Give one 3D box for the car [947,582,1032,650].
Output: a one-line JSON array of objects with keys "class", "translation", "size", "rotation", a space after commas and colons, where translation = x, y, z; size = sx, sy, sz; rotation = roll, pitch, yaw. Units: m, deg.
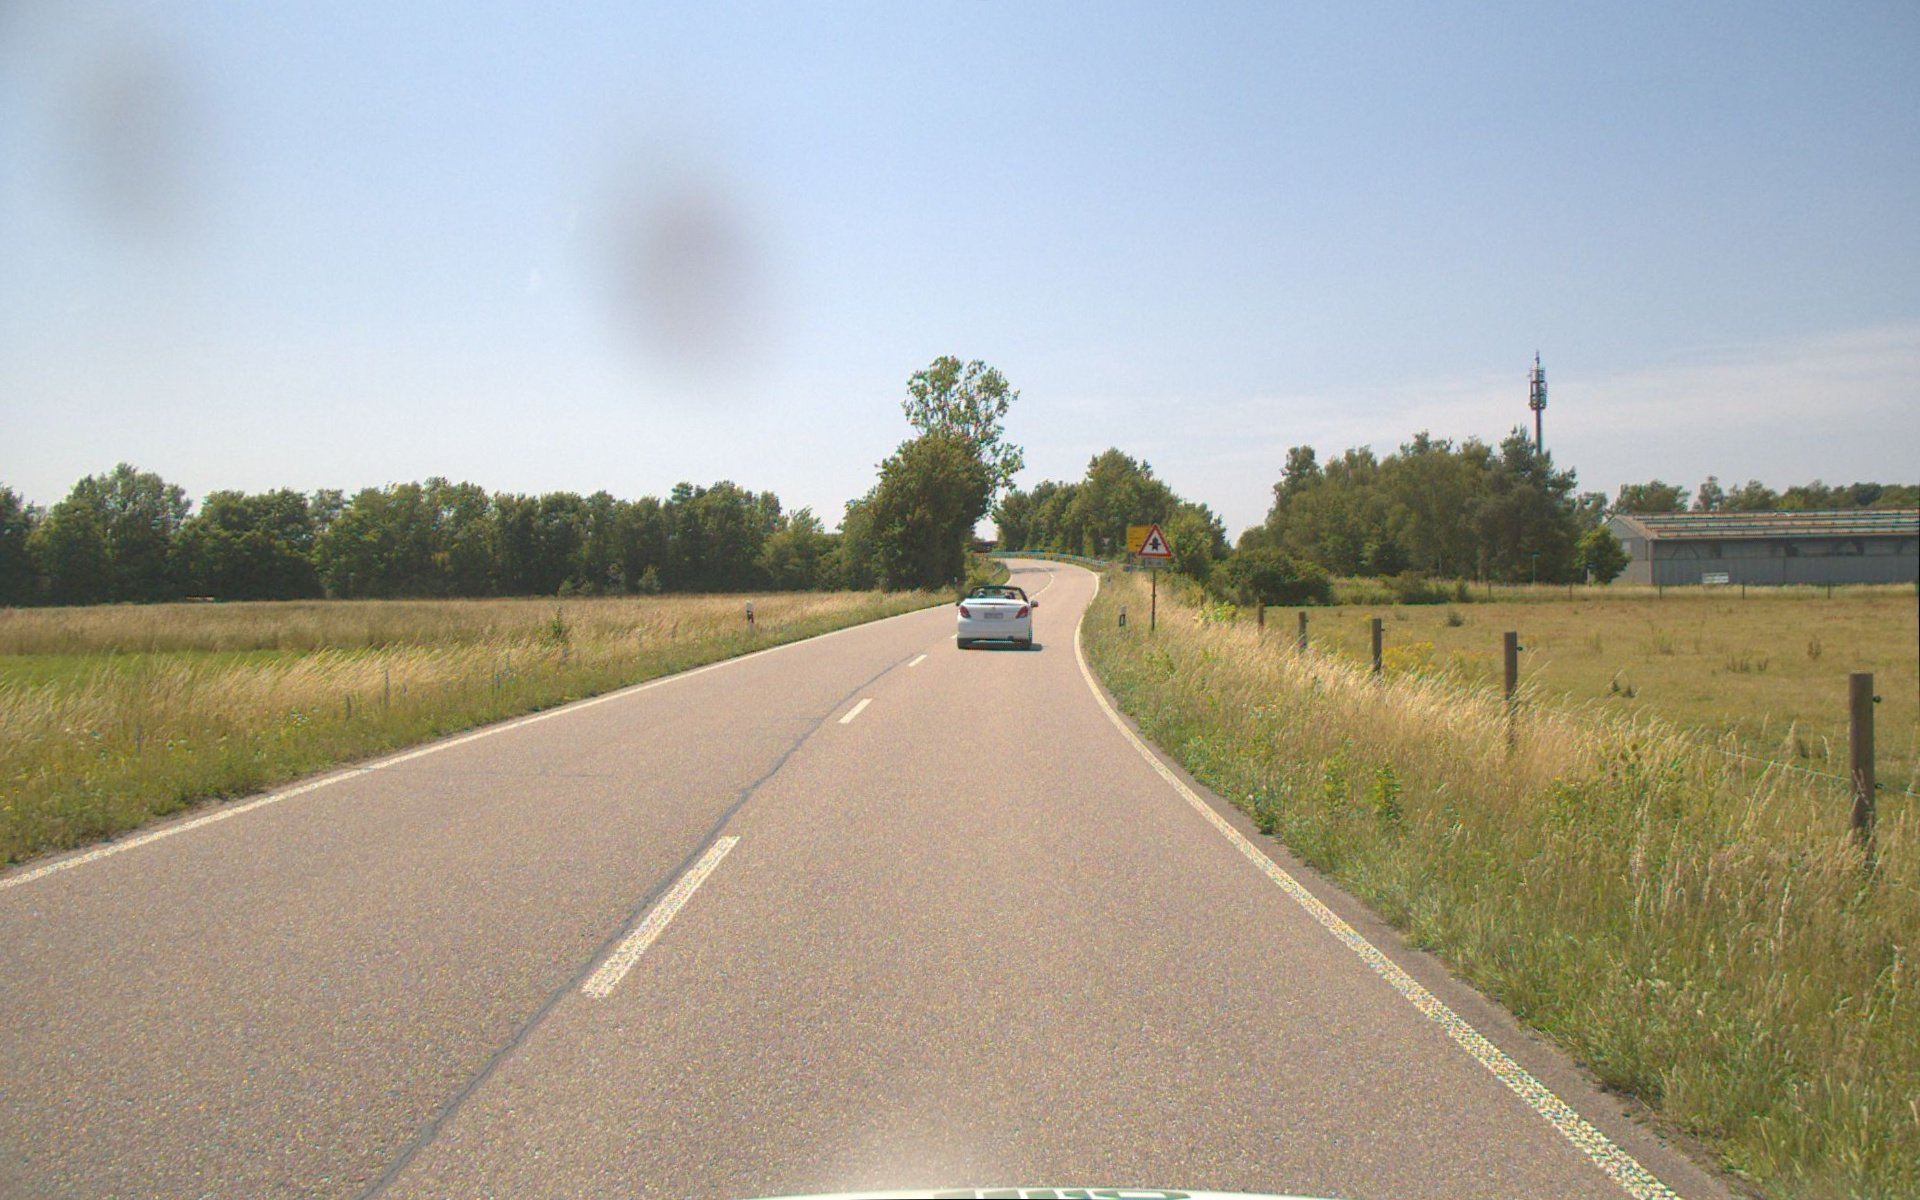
[{"class": "car", "translation": [0.737, 0.336, 38.501], "size": [1.812, 1.403, 4.003], "rotation": [0, 2, 4]}]
